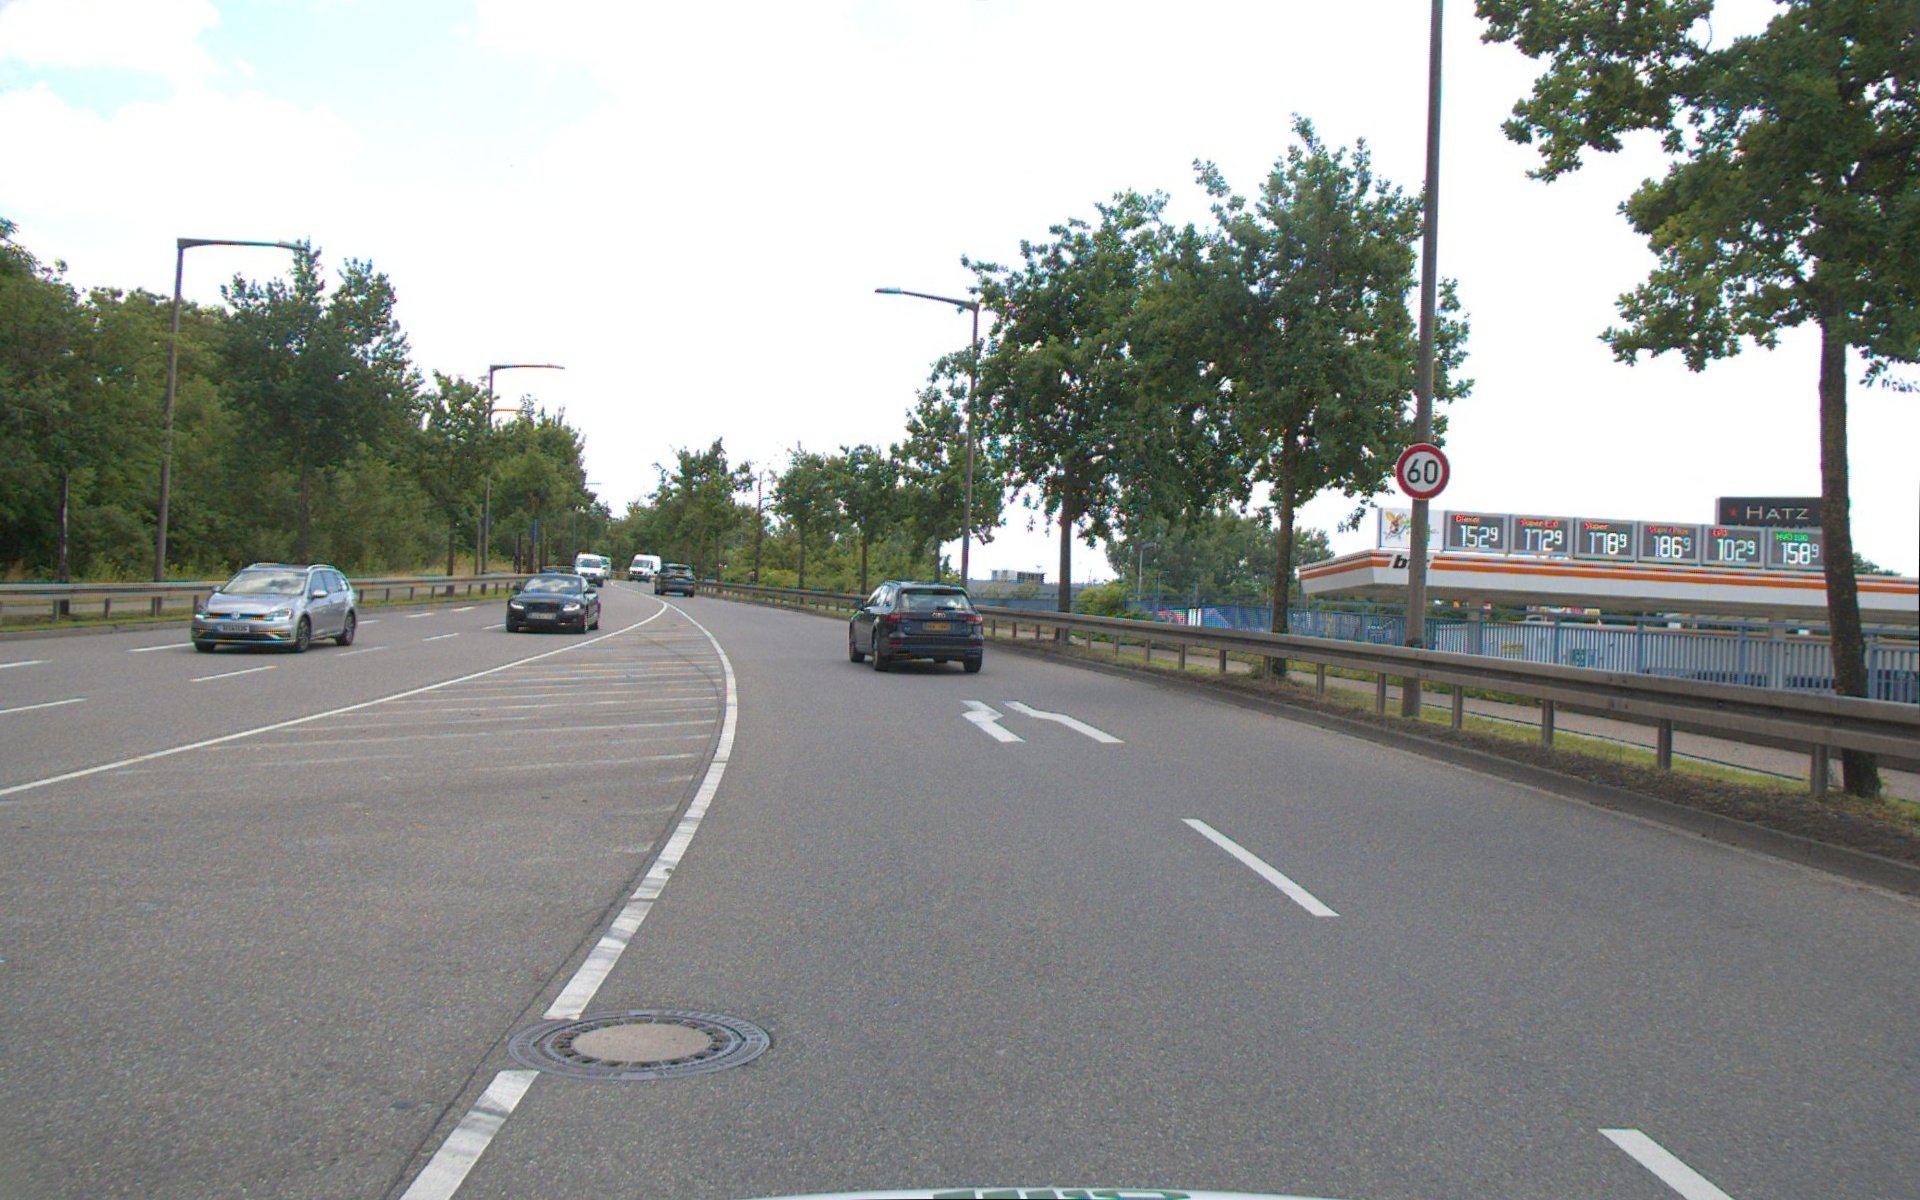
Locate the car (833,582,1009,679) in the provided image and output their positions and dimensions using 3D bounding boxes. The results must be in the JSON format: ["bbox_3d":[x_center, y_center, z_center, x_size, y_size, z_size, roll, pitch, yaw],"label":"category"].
[{"bbox_3d":[-0.774,0.461,28.190,1.960,1.414,4.558,4,0,-14],"label":"car"}]

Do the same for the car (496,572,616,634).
[{"bbox_3d":[-9.603,0.066,39.673,1.865,1.387,4.574,0,0,-2],"label":"car"}]

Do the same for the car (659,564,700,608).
[{"bbox_3d":[-14.906,-0.698,87.982,1.956,2.073,4.703,3,-2,-8],"label":"car"}]

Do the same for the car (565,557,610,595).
[{"bbox_3d":[-21.712,-1.442,96.539,1.956,2.048,4.552,3,1,-7],"label":"car"}]

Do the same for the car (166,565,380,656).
[{"bbox_3d":[-11.977,0.123,29.212,1.954,1.420,4.697,2,1,-3],"label":"car"}]

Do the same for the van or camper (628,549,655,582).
[{"bbox_3d":[-30.058,-3.241,155.998,1.961,2.798,5.364,4,-1,-15],"label":"van or camper"}]
